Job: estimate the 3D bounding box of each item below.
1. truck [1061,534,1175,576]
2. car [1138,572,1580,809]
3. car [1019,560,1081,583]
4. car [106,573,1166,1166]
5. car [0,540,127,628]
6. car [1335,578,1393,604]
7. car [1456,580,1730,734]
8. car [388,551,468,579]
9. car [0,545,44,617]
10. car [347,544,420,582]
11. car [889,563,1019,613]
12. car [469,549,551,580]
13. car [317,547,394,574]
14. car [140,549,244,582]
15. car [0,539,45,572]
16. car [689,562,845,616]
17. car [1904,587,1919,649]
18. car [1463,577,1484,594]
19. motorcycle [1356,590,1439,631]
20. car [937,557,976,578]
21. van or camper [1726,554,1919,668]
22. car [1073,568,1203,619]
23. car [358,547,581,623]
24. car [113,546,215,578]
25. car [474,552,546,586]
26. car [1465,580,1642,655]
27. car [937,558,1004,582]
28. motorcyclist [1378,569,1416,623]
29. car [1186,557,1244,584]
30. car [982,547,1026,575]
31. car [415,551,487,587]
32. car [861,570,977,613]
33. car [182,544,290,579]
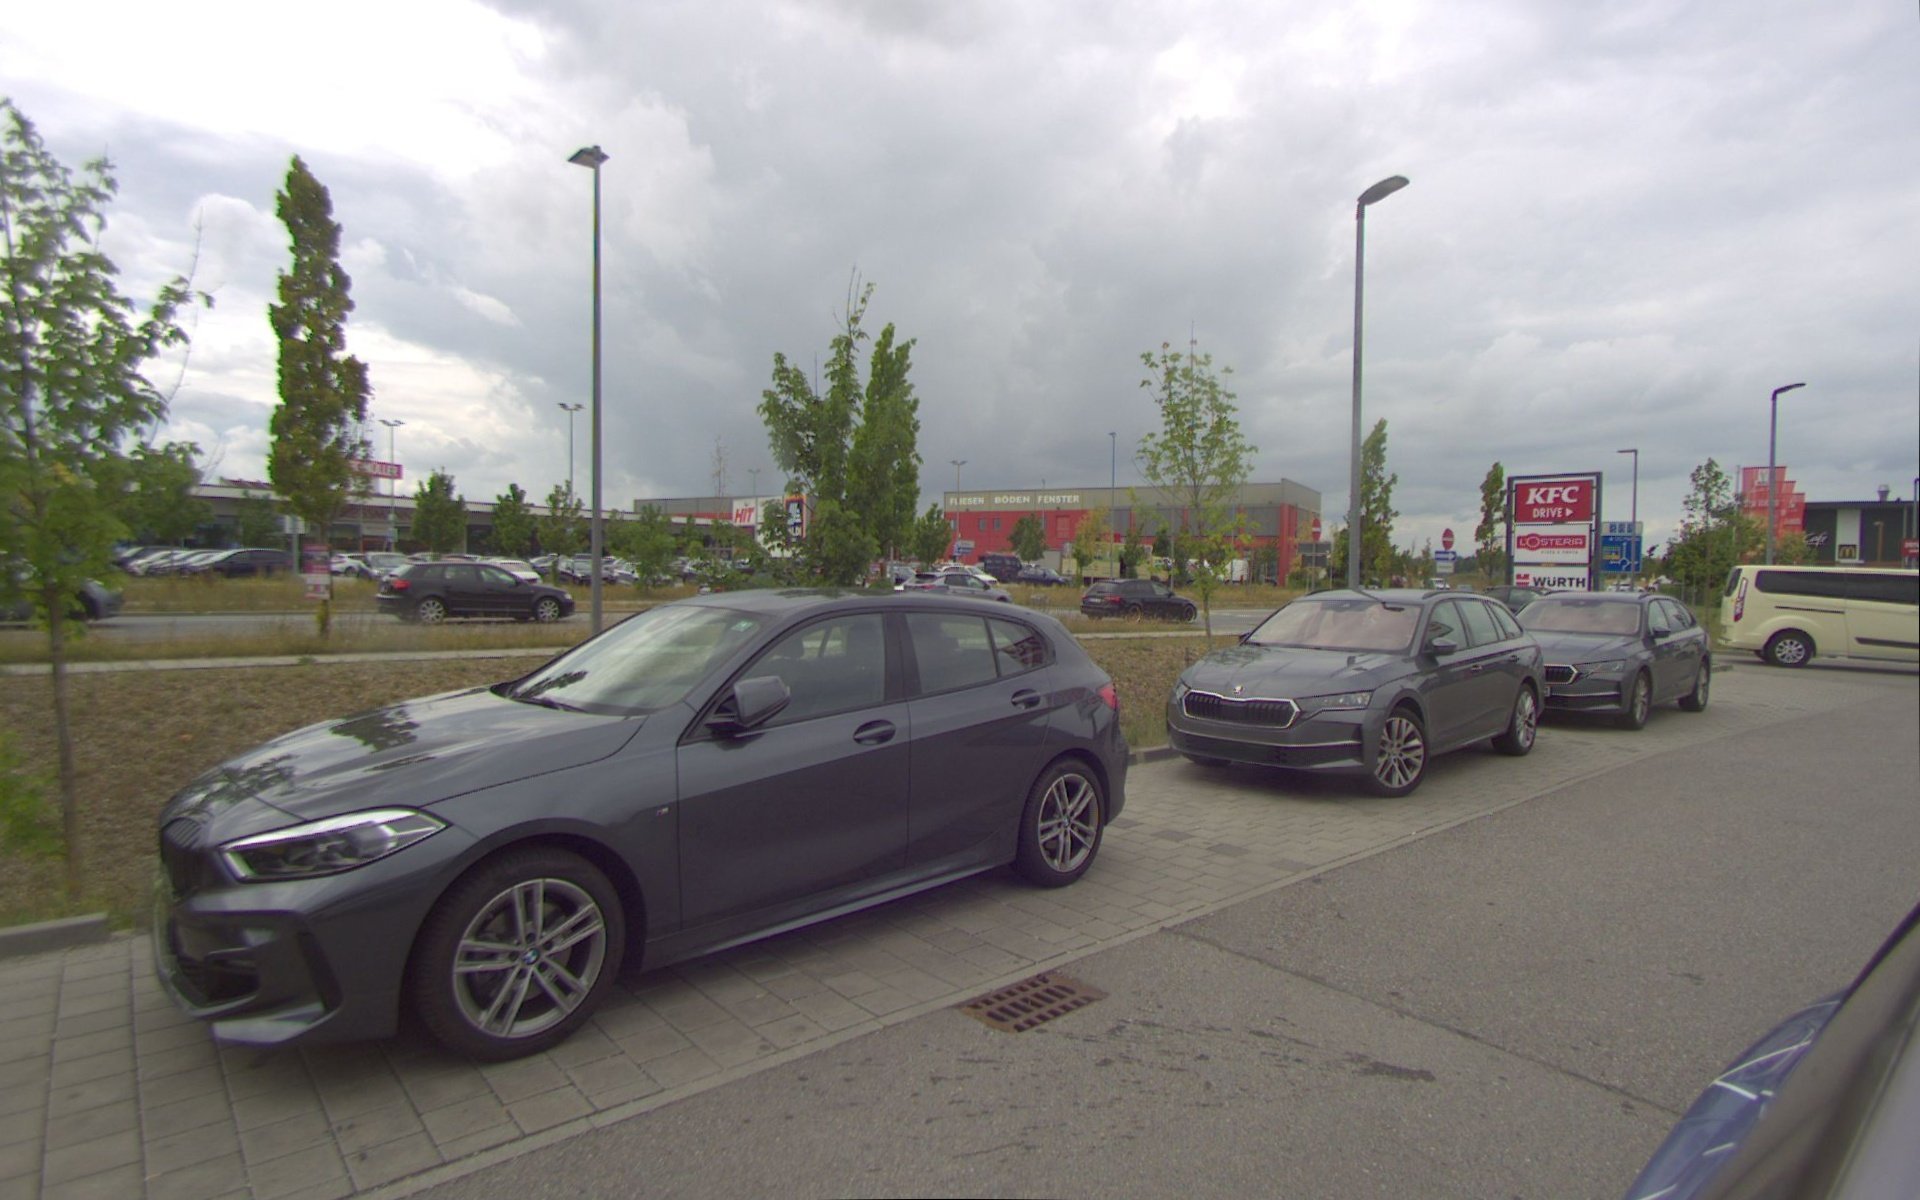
[{"bbox_3d":[11.711,-3.301,74.986,8.012,2.981,2.686,0,2,-21],"label":"truck"},{"bbox_3d":[3.609,0.527,8.661,4.556,1.509,1.749,-1,2,-43],"label":"car"},{"bbox_3d":[6.078,-1.933,68.105,3.814,1.445,1.722,2,2,33],"label":"car"},{"bbox_3d":[-1.018,0.608,4.563,4.235,1.433,1.749,-1,2,-44],"label":"car"},{"bbox_3d":[-17.901,-0.308,17.846,1.806,1.526,4.806,3,2,44],"label":"car"},{"bbox_3d":[23.988,-0.548,59.996,1.751,1.499,4.465,1,2,42],"label":"car"},{"bbox_3d":[7.753,0.526,12.215,4.413,1.509,1.749,-1,2,-43],"label":"car"},{"bbox_3d":[-32.383,-2.125,61.640,1.861,1.660,3.958,2,2,30],"label":"car"},{"bbox_3d":[-21.271,-0.390,20.359,4.192,1.474,1.997,-1,2,-42],"label":"car"},{"bbox_3d":[-24.157,-1.548,42.379,1.748,1.494,3.991,0,2,-44],"label":"car"},{"bbox_3d":[-0.149,-0.417,32.788,3.928,1.513,1.822,0,2,-39],"label":"car"},{"bbox_3d":[-25.453,-1.982,57.384,1.861,1.660,3.958,2,2,30],"label":"car"},{"bbox_3d":[-39.325,-2.542,65.938,1.861,1.660,3.958,2,2,30],"label":"car"},{"bbox_3d":[-40.180,-1.783,53.014,1.861,1.660,3.958,2,2,30],"label":"car"},{"bbox_3d":[-50.144,-2.320,52.247,1.861,1.660,3.958,2,2,30],"label":"car"},{"bbox_3d":[-5.422,-0.324,28.679,3.929,1.415,1.907,0,2,-40],"label":"car"},{"bbox_3d":[26.075,0.479,25.249,1.671,1.568,3.522,-1,2,-41],"label":"car"},{"bbox_3d":[55.717,-1.578,109.881,1.980,1.697,3.964,2,2,26],"label":"car"},{"bbox_3d":[10.992,0.245,25.459,0.546,0.928,1.867,0,2,-39],"label":"motorcycle"},{"bbox_3d":[-0.280,-2.811,86.565,1.746,1.674,3.801,2,3,27],"label":"car"},{"bbox_3d":[18.017,0.186,19.343,5.196,2.087,1.838,2,2,33],"label":"van or camper"},{"bbox_3d":[5.828,-0.233,32.940,4.296,1.534,1.996,-1,2,-43],"label":"car"},{"bbox_3d":[-11.222,-0.357,23.313,4.264,1.588,1.905,-1,2,-44],"label":"car"},{"bbox_3d":[-42.833,-2.044,54.547,1.861,1.660,3.958,2,2,30],"label":"car"},{"bbox_3d":[-20.287,-1.410,45.561,1.748,1.494,3.991,0,2,-44],"label":"car"},{"bbox_3d":[13.436,0.345,23.018,1.480,1.464,3.124,-1,3,-38],"label":"car"},{"bbox_3d":[0.648,-1.858,63.209,3.988,1.460,1.968,2,2,45],"label":"car"},{"bbox_3d":[10.995,-0.105,25.447,0.565,1.332,0.672,0,1,-40],"label":"motorcyclist"},{"bbox_3d":[21.442,-2.486,85.175,4.402,2.148,1.979,1,1,30],"label":"car"},{"bbox_3d":[3.661,-3.237,83.697,2.006,2.232,4.309,2,3,27],"label":"car"},{"bbox_3d":[-22.251,-1.385,44.189,1.748,1.494,3.991,0,2,-44],"label":"car"},{"bbox_3d":[-1.474,-0.347,37.061,3.980,1.499,1.758,-1,2,-36],"label":"car"},{"bbox_3d":[-35.795,-1.895,50.129,1.861,1.660,3.958,2,2,30],"label":"car"}]
